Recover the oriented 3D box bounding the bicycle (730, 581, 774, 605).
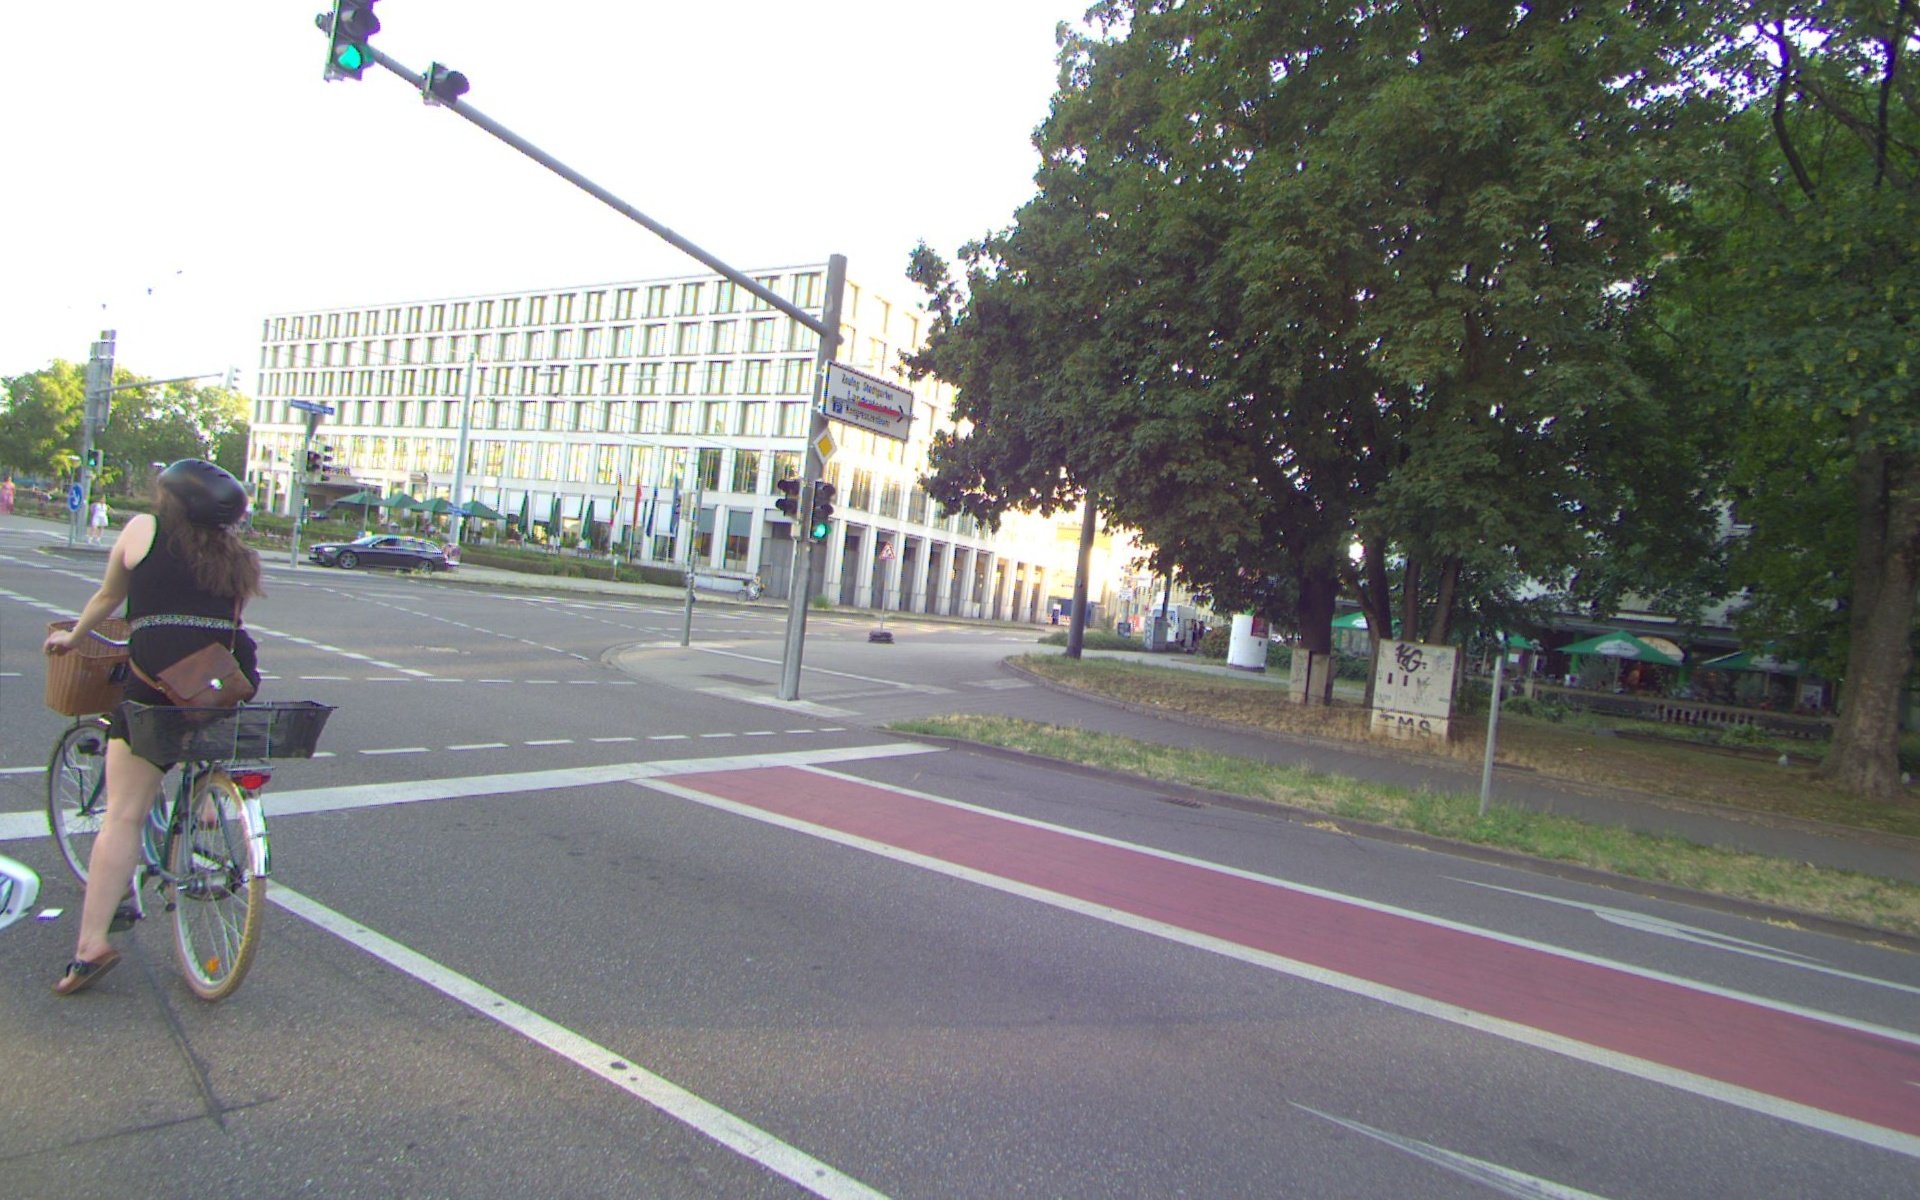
[{"bbox_3d":[-11.358,-0.367,55.118,0.592,1.120,2.775,7,0,29],"label":"bicycle"}]

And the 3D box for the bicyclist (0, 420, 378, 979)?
[{"bbox_3d":[-2.686,0.273,3.481,0.982,1.655,0.600,7,0,32],"label":"bicyclist"}]

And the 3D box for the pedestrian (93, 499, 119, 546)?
[{"bbox_3d":[-29.844,-2.707,35.163,0.402,1.559,0.491,7,2,31],"label":"pedestrian"}]

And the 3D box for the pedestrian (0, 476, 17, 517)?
[{"bbox_3d":[-41.229,-4.471,43.474,0.557,1.678,0.460,7,2,32],"label":"pedestrian"}]

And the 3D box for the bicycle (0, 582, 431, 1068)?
[{"bbox_3d":[-2.759,0.622,3.495,1.971,1.146,0.612,7,-1,32],"label":"bicycle"}]

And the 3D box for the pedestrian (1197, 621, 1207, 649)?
[{"bbox_3d":[13.408,1.950,55.753,0.302,1.525,0.336,7,-1,31],"label":"pedestrian"}]

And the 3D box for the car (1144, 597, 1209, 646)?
[{"bbox_3d":[12.024,1.223,55.670,1.967,2.318,4.605,6,0,31],"label":"car"}]

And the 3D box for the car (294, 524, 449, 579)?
[{"bbox_3d":[-22.986,-1.871,39.476,1.968,1.534,4.826,7,0,34],"label":"car"}]

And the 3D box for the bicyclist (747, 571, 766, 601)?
[{"bbox_3d":[-11.205,-0.776,55.329,0.567,1.556,0.708,7,1,29],"label":"bicyclist"}]
